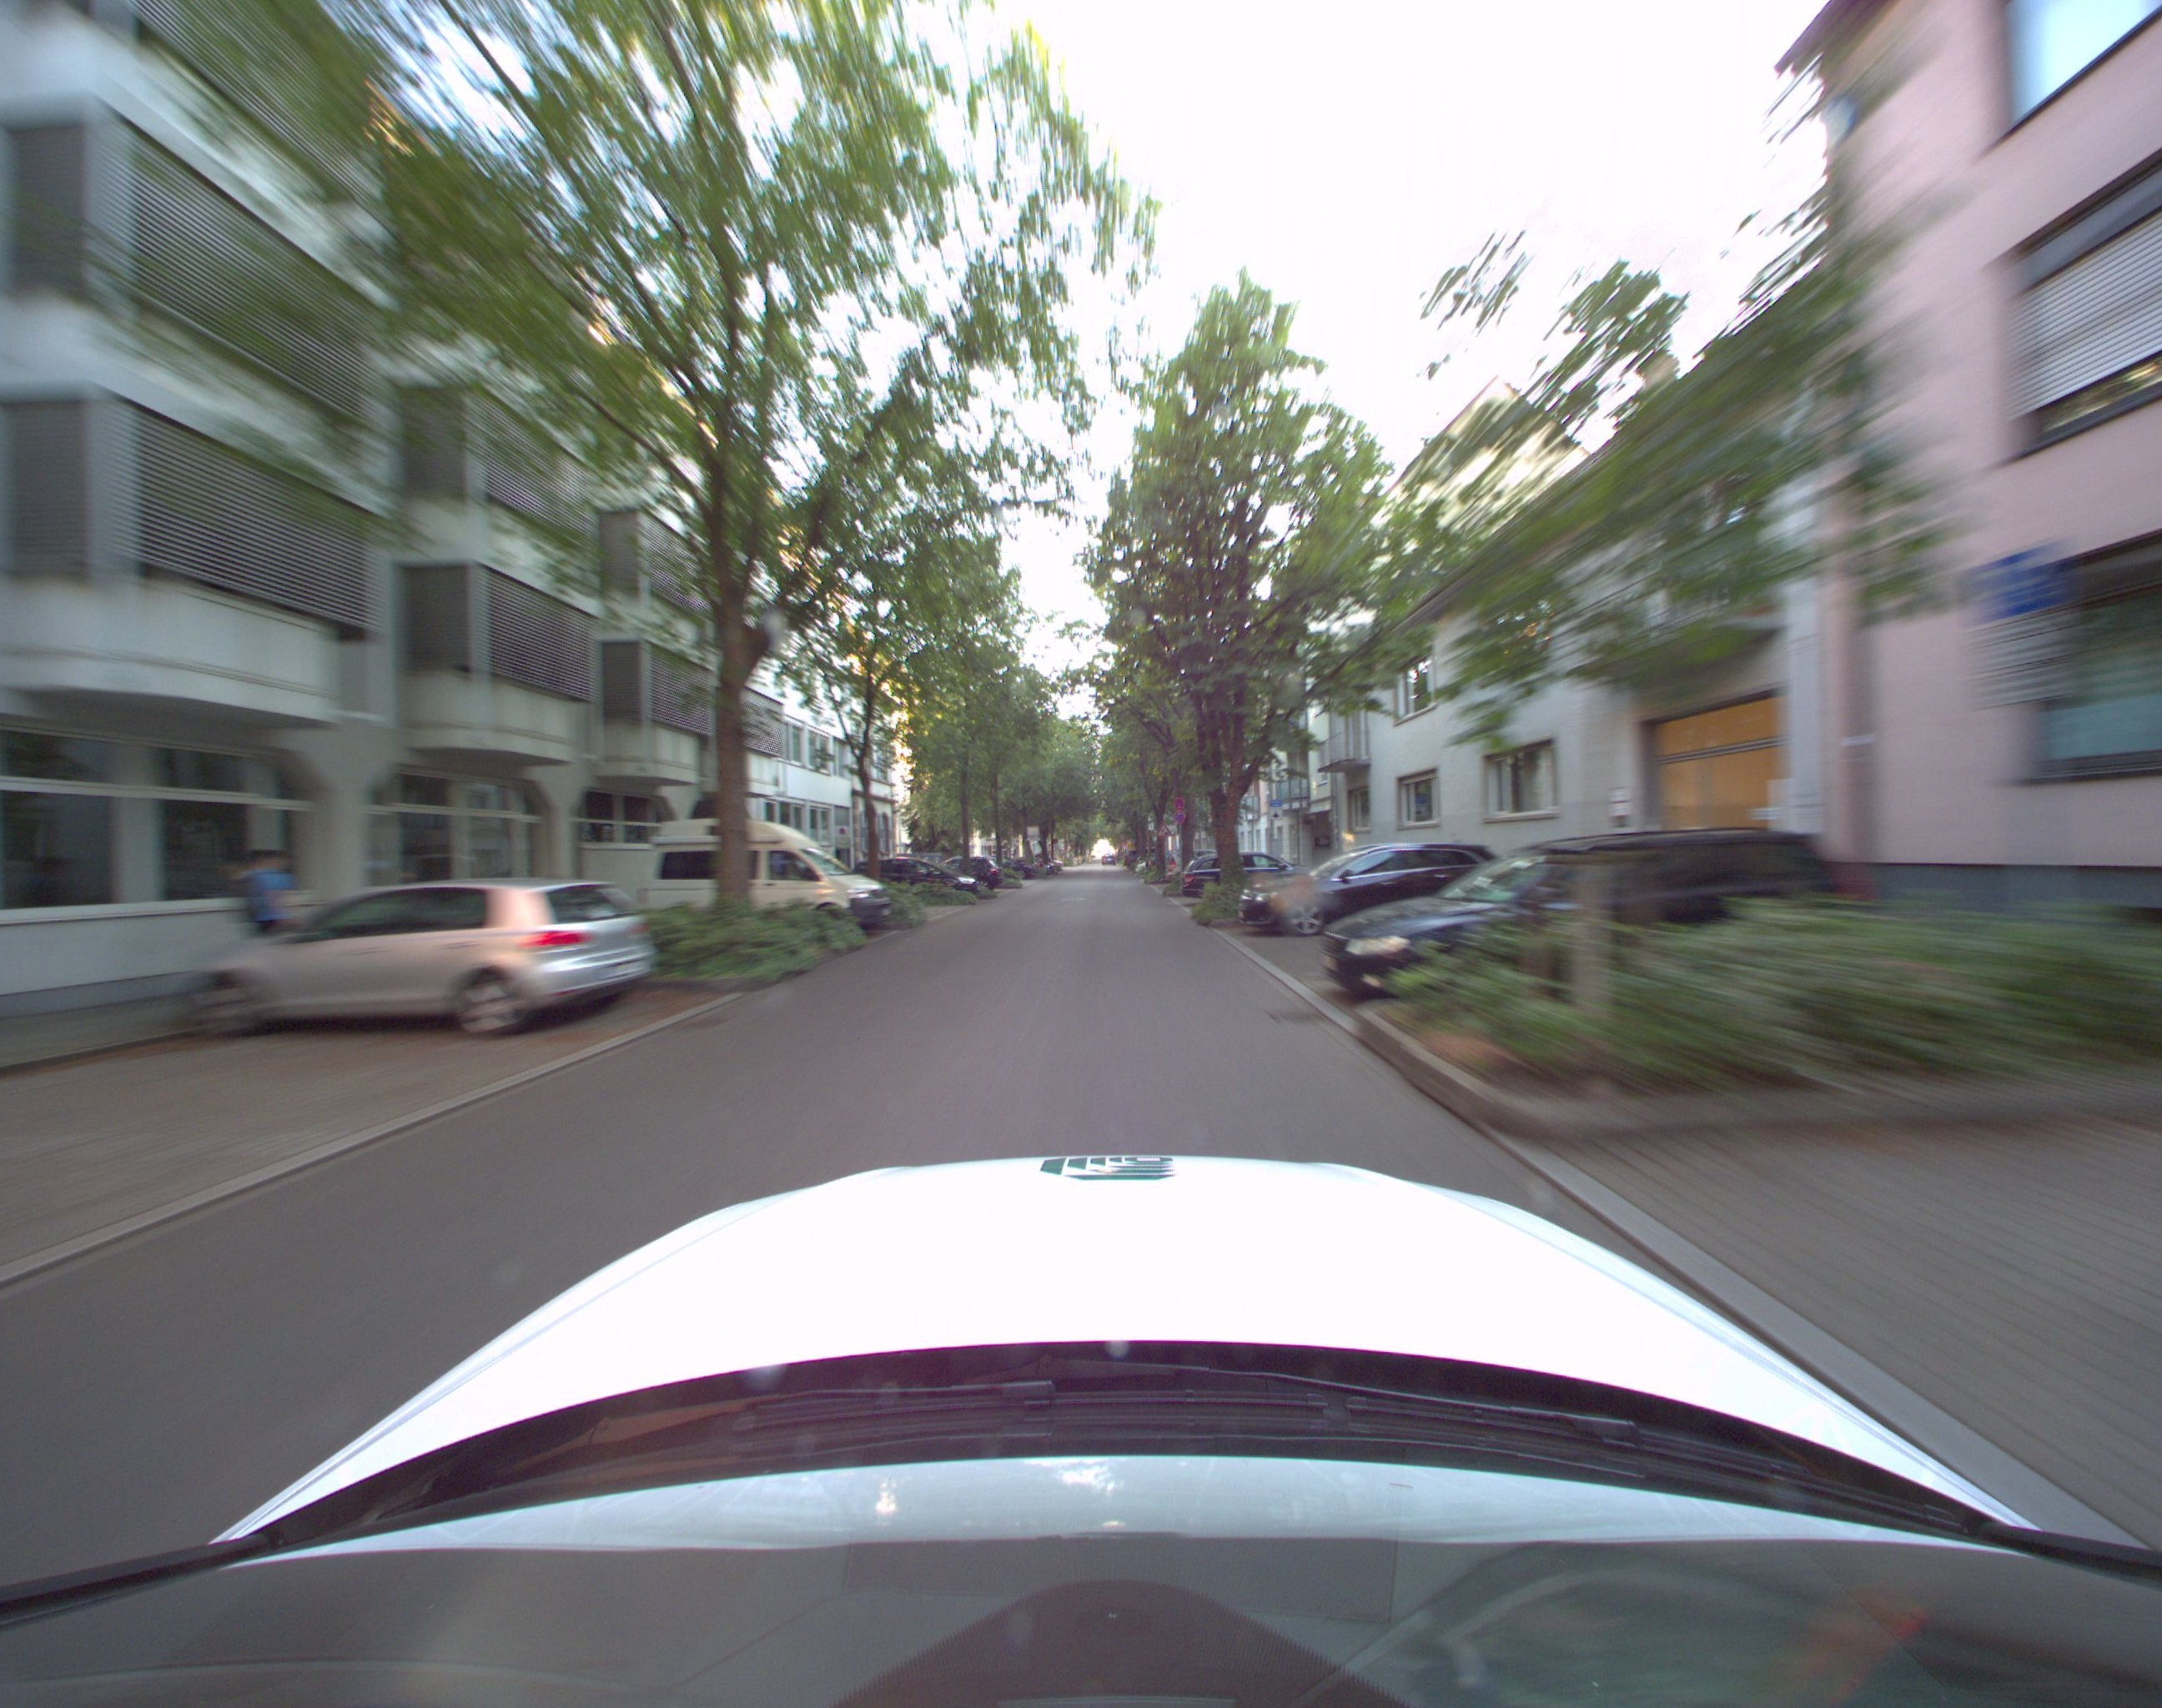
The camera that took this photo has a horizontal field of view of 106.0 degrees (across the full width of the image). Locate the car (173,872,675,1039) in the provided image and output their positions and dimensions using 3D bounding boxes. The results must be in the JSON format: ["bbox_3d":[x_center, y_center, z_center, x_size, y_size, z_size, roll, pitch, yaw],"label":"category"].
[{"bbox_3d":[-6.622,0.980,8.513,3.854,1.486,1.758,-1,0,3],"label":"car"}]

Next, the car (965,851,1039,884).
[{"bbox_3d":[-5.394,0.910,56.178,4.745,1.984,1.963,-3,0,1],"label":"car"}]

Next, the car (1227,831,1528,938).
[{"bbox_3d":[5.135,0.514,14.623,4.665,1.521,1.963,-3,0,1],"label":"car"}]

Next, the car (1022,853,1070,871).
[{"bbox_3d":[-3.594,0.822,84.611,4.745,1.630,1.963,-3,0,1],"label":"car"}]

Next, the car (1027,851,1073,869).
[{"bbox_3d":[-3.331,0.613,87.487,4.745,1.630,1.963,-3,0,1],"label":"car"}]

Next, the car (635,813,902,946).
[{"bbox_3d":[-6.302,0.497,16.841,4.665,2.478,2.001,-1,0,1],"label":"car"}]

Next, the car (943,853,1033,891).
[{"bbox_3d":[-5.034,0.967,44.711,4.578,1.807,1.963,-3,0,1],"label":"car"}]

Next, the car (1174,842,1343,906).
[{"bbox_3d":[5.012,0.565,23.542,4.487,1.521,1.998,-3,0,4],"label":"car"}]

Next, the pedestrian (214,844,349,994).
[{"bbox_3d":[-9.647,0.753,9.862,0.700,1.728,0.905,-1,0,2],"label":"pedestrian"}]

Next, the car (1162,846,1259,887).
[{"bbox_3d":[5.788,0.539,36.645,4.036,1.597,1.825,-3,0,1],"label":"car"}]

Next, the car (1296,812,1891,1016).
[{"bbox_3d":[4.731,0.524,8.145,4.698,1.710,1.951,-1,1,3],"label":"car"}]

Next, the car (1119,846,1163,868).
[{"bbox_3d":[6.058,0.337,82.497,4.253,1.962,1.963,-3,0,1],"label":"car"}]

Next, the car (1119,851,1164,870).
[{"bbox_3d":[5.911,0.635,79.903,4.253,1.565,1.963,-3,0,1],"label":"car"}]

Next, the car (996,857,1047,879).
[{"bbox_3d":[-4.833,1.115,66.471,3.972,1.510,1.801,-3,0,1],"label":"car"}]

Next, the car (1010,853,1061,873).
[{"bbox_3d":[-4.444,0.895,79.581,4.745,1.630,1.963,-3,0,1],"label":"car"}]

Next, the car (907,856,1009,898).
[{"bbox_3d":[-5.538,1.020,37.023,4.188,1.635,1.963,-3,0,1],"label":"car"}]

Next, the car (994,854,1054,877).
[{"bbox_3d":[-4.787,0.970,68.949,4.745,1.630,1.963,-3,0,1],"label":"car"}]

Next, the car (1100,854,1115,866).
[{"bbox_3d":[3.705,0.833,113.003,1.949,1.565,4.284,-3,0,2],"label":"car"}]

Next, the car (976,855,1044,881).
[{"bbox_3d":[-5.224,1.016,60.497,4.745,1.630,1.963,-3,0,1],"label":"car"}]

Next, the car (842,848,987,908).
[{"bbox_3d":[-5.907,0.838,29.303,4.665,1.854,1.963,-3,0,1],"label":"car"}]

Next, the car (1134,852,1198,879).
[{"bbox_3d":[5.861,0.795,56.673,4.253,1.565,1.963,-3,0,1],"label":"car"}]
